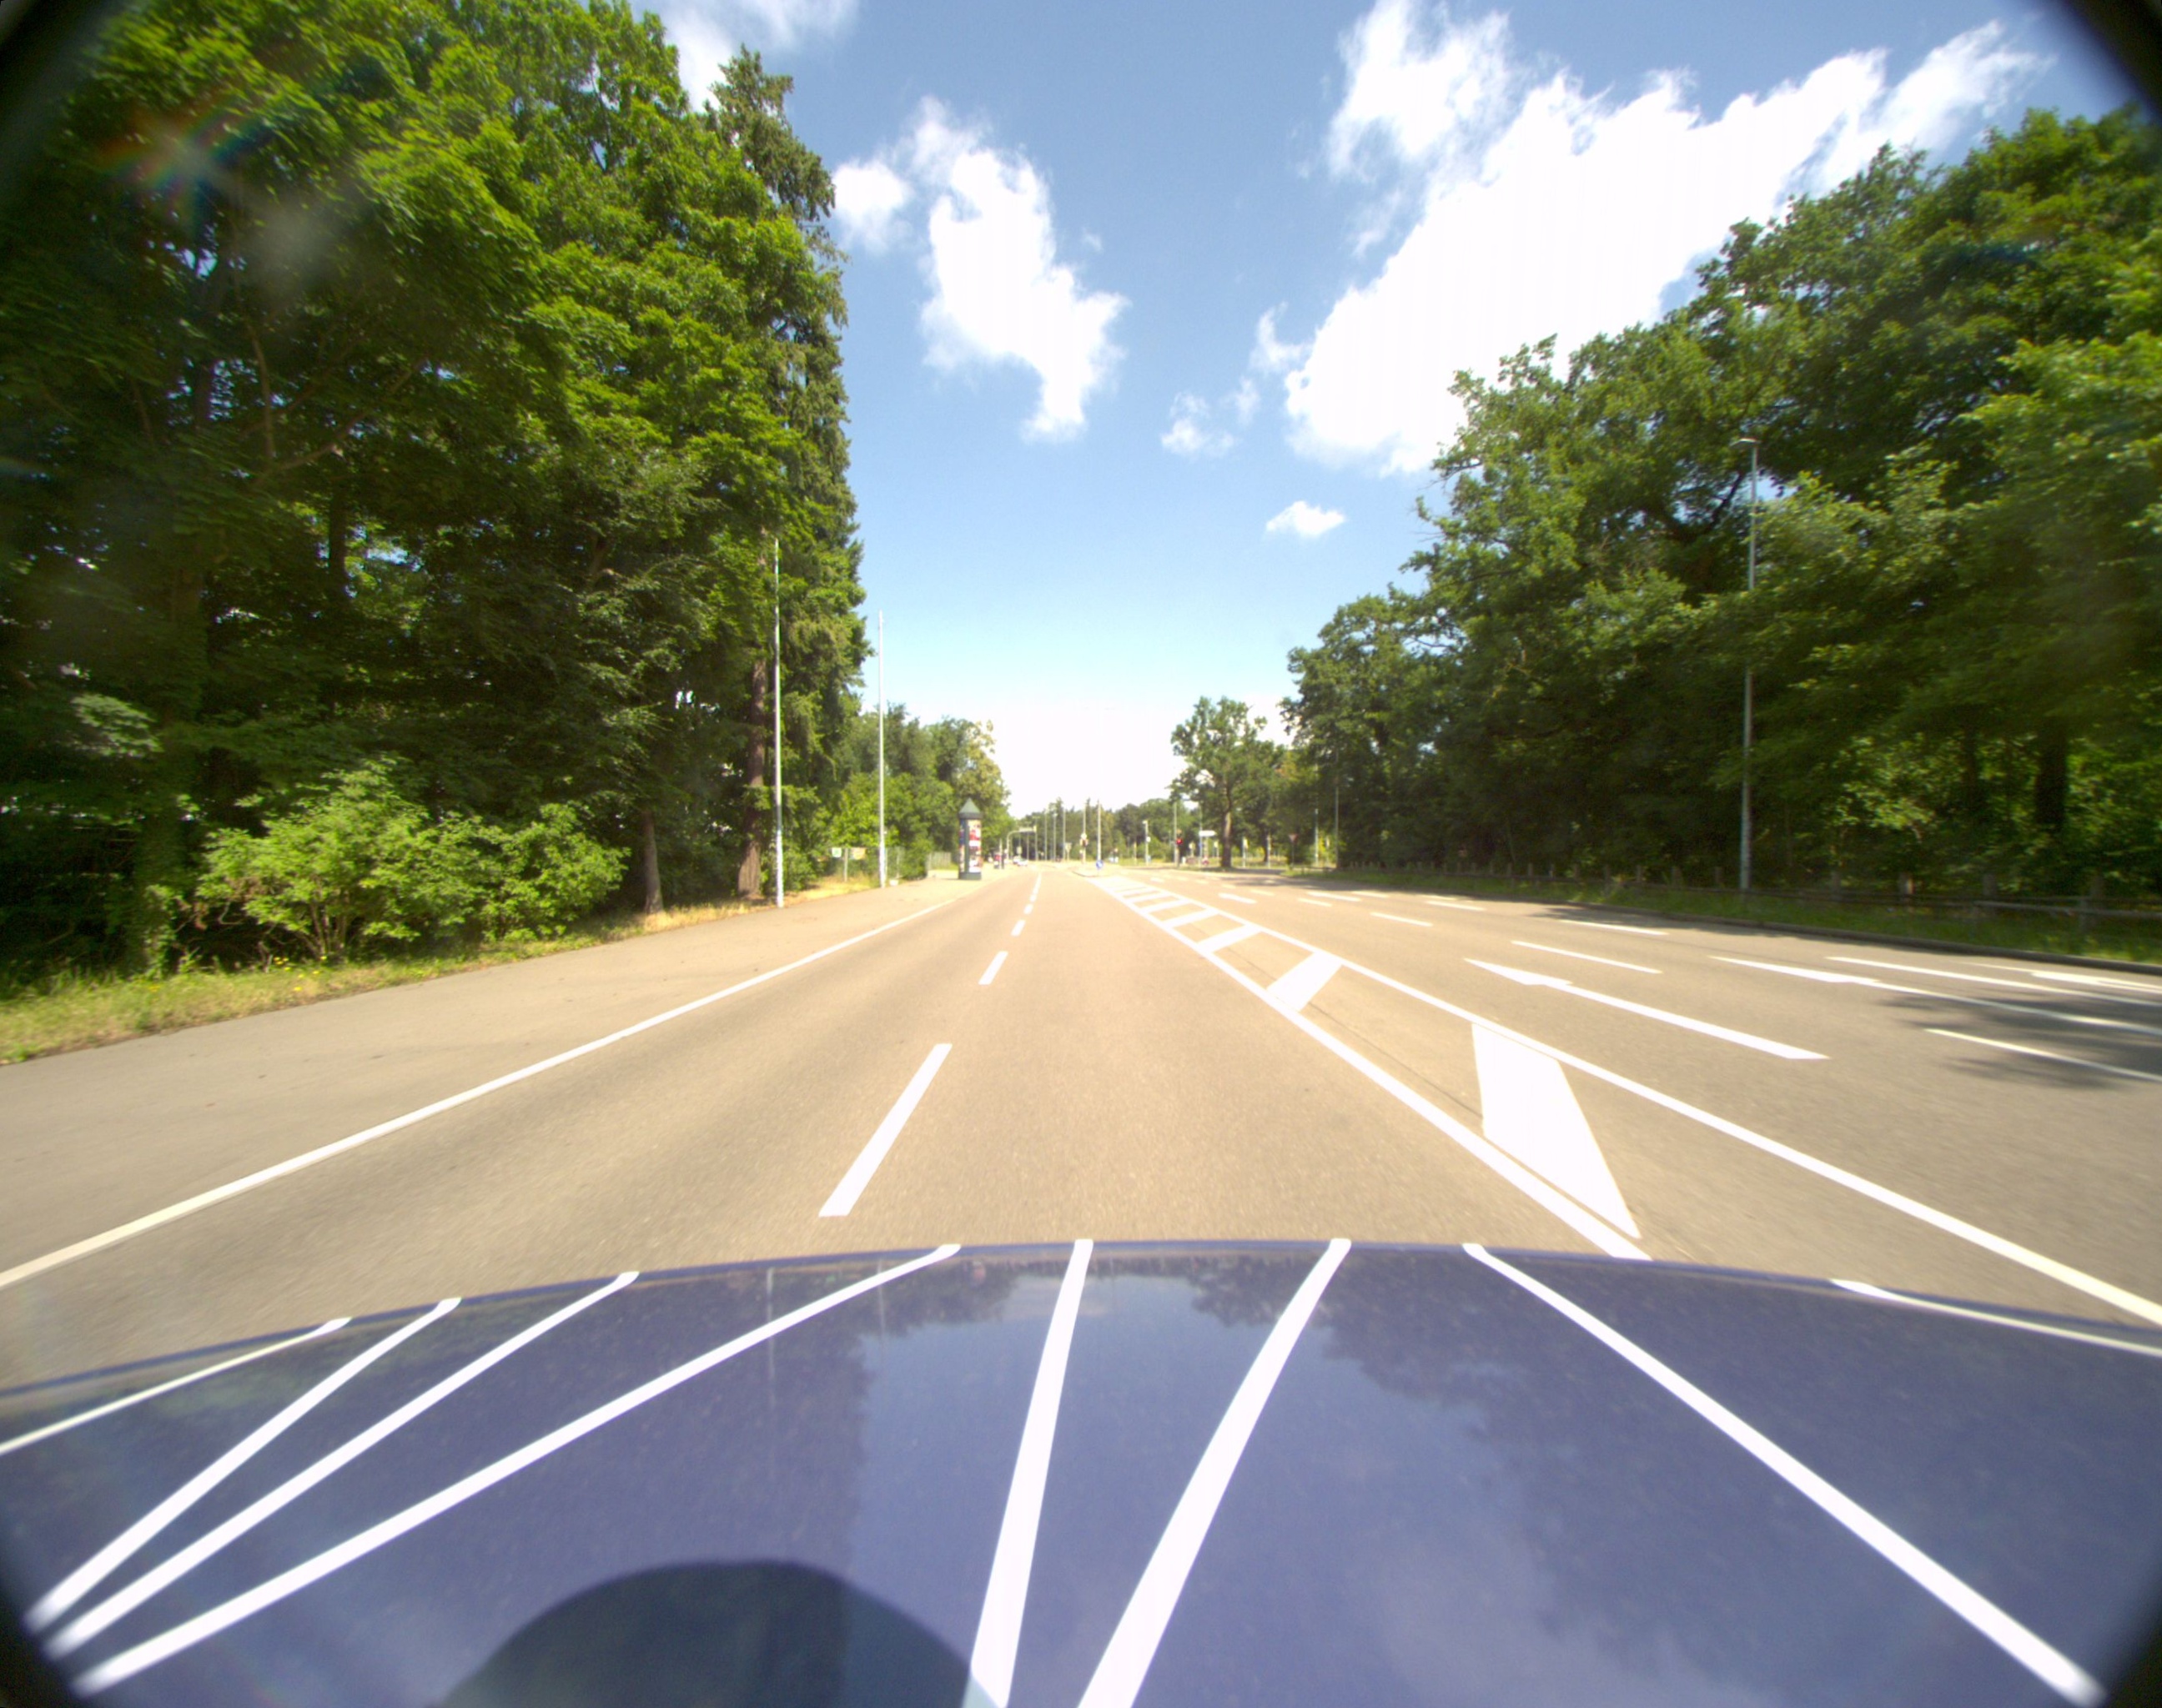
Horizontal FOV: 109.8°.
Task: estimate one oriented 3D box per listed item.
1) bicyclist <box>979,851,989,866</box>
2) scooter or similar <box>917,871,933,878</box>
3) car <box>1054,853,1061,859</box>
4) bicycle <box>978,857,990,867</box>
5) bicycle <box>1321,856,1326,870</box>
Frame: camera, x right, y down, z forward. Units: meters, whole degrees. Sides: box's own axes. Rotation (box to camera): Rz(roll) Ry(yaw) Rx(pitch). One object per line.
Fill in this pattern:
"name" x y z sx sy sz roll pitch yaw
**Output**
"bicyclist" -12.124 0.523 94.709 0.886 1.787 0.979 -1 1 11
"scooter or similar" -10.303 1.382 50.334 0.855 0.386 1.473 1 1 -5
"car" -6.824 0.563 218.322 1.981 1.754 4.706 -2 0 -3
"bicycle" -12.103 0.958 94.825 0.882 1.199 1.898 -1 1 9
"bicycle" 20.339 0.741 63.743 0.420 1.166 1.231 -1 1 19
